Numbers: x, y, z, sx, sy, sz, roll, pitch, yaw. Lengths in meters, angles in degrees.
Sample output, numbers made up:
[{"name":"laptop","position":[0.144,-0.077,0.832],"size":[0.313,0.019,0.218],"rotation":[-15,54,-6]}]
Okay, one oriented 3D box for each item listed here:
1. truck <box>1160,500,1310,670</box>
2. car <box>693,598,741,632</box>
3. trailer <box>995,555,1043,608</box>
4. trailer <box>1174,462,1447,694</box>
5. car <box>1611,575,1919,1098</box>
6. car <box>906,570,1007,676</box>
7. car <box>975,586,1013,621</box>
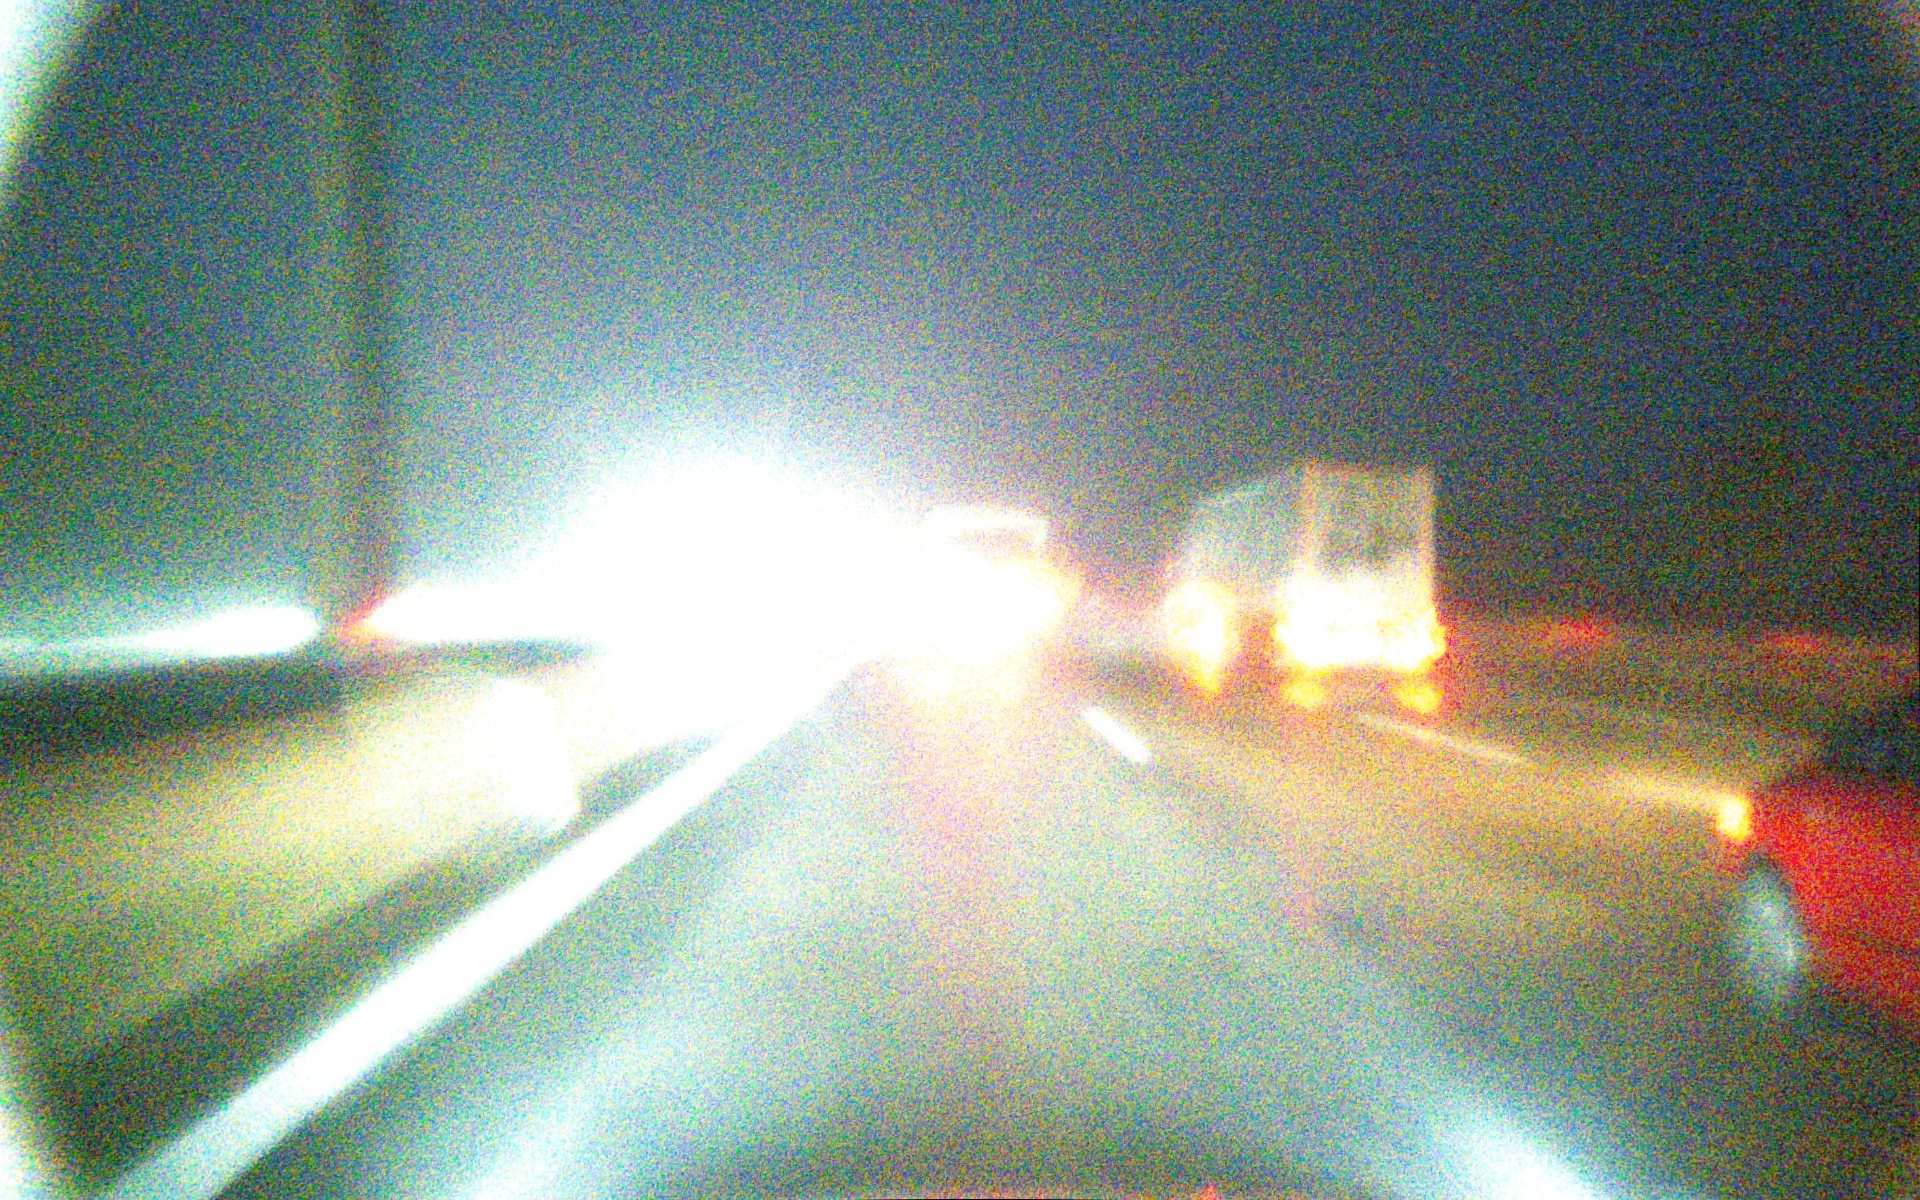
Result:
[{"name":"truck","position":[7.258,-0.379,44.488],"size":[2.844,4.180,6.029],"rotation":[-1,0,-1]},{"name":"car","position":[-13.802,0.829,94.322],"size":[1.953,1.769,5.235],"rotation":[2,0,-1]},{"name":"trailer","position":[4.942,-1.485,141.934],"size":[2.980,4.180,13.821],"rotation":[-2,-1,-2]},{"name":"trailer","position":[7.376,-0.422,37.594],"size":[2.844,4.180,14.484],"rotation":[-1,0,-1]},{"name":"car","position":[3.792,0.725,5.122],"size":[1.705,1.603,4.493],"rotation":[0,0,-1]},{"name":"car","position":[-0.110,0.478,34.073],"size":[1.953,2.049,3.999],"rotation":[0,-1,-1]},{"name":"car","position":[2.115,0.233,103.503],"size":[1.954,2.049,3.996],"rotation":[-2,-1,-4]}]
